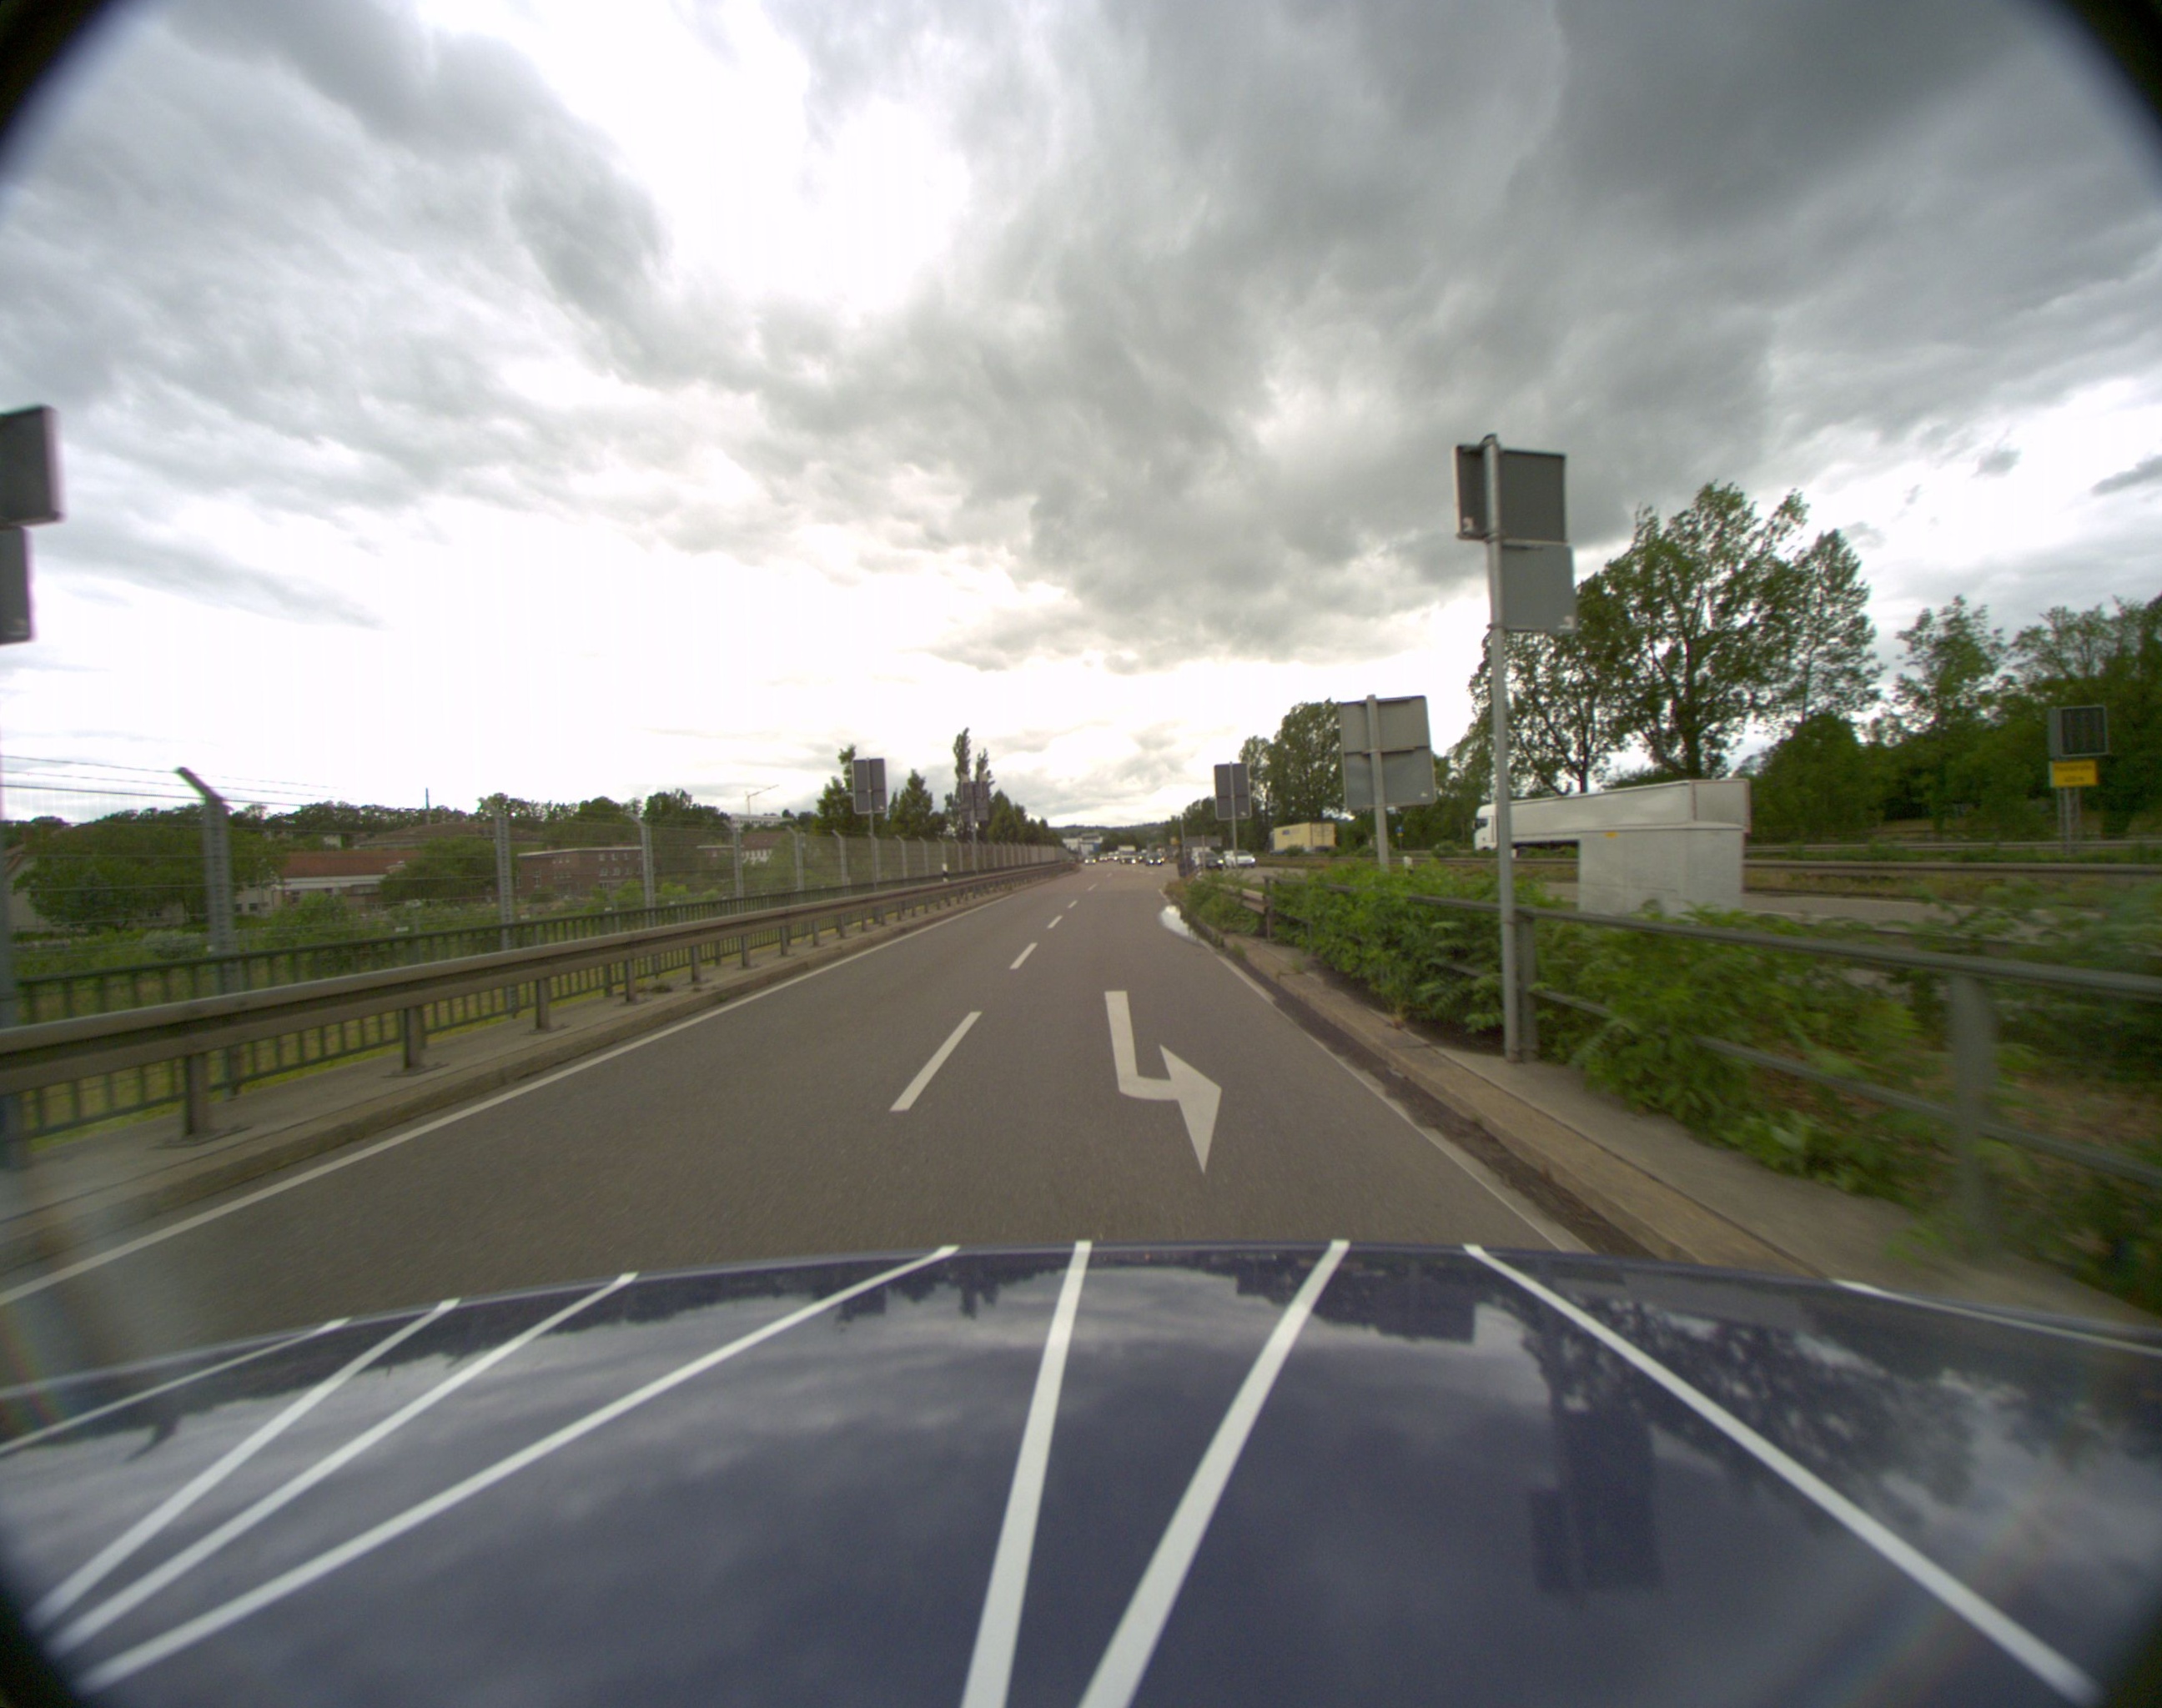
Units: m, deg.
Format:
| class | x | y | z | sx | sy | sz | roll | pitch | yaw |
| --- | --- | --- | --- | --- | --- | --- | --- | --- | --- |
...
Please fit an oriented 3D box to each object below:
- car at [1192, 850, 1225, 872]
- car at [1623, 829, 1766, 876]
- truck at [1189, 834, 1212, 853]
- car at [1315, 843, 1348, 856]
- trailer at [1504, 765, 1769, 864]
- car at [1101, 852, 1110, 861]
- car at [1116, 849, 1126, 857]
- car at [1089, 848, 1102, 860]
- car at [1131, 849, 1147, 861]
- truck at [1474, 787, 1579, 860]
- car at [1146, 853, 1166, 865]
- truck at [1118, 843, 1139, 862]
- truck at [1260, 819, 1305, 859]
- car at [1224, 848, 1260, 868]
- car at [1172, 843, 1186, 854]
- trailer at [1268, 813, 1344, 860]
| class | x | y | z | sx | sy | sz | roll | pitch | yaw |
| --- | --- | --- | --- | --- | --- | --- | --- | --- | --- |
| car | 9.154 | 0.501 | 54.745 | 1.939 | 1.492 | 4.305 | -1 | 0 | 4 |
| car | 22.990 | -0.082 | 28.706 | 1.999 | 1.513 | 3.998 | -4 | 1 | -3 |
| truck | 25.328 | -2.123 | 161.176 | 2.991 | 3.622 | 6.335 | -4 | 0 | -5 |
| car | 22.732 | -0.390 | 69.111 | 1.656 | 0.926 | 3.614 | -5 | 2 | -1 |
| trailer | 26.546 | -1.670 | 37.912 | 2.797 | 3.926 | 13.509 | -4 | 1 | -2 |
| car | 6.035 | 0.657 | 188.491 | 1.998 | 2.002 | 4.000 | -2 | 0 | 1 |
| car | 10.355 | -0.157 | 196.376 | 1.999 | 2.002 | 3.999 | -2 | 0 | -2 |
| car | 2.550 | -0.033 | 132.877 | 1.998 | 2.002 | 4.000 | -4 | 1 | 4 |
| car | 10.565 | 0.234 | 138.939 | 2.100 | 2.002 | 5.336 | -2 | 1 | -5 |
| truck | 26.295 | -1.724 | 45.147 | 2.797 | 3.914 | 5.311 | -4 | 1 | -2 |
| car | 8.613 | 0.565 | 88.020 | 1.728 | 1.319 | 3.647 | -2 | 0 | -3 |
| truck | 8.284 | -0.379 | 132.449 | 3.039 | 3.140 | 7.567 | -2 | 1 | 0 |
| truck | 24.691 | -1.770 | 93.491 | 3.473 | 4.646 | 6.209 | -3 | 0 | -2 |
| car | 12.979 | 0.327 | 61.410 | 1.859 | 1.491 | 3.999 | -2 | 0 | -2 |
| car | 20.821 | -1.173 | 161.899 | 1.999 | 2.002 | 3.999 | -4 | 0 | -4 |
| trailer | 25.018 | -1.785 | 85.695 | 3.473 | 4.645 | 14.778 | -3 | 0 | -2 |
